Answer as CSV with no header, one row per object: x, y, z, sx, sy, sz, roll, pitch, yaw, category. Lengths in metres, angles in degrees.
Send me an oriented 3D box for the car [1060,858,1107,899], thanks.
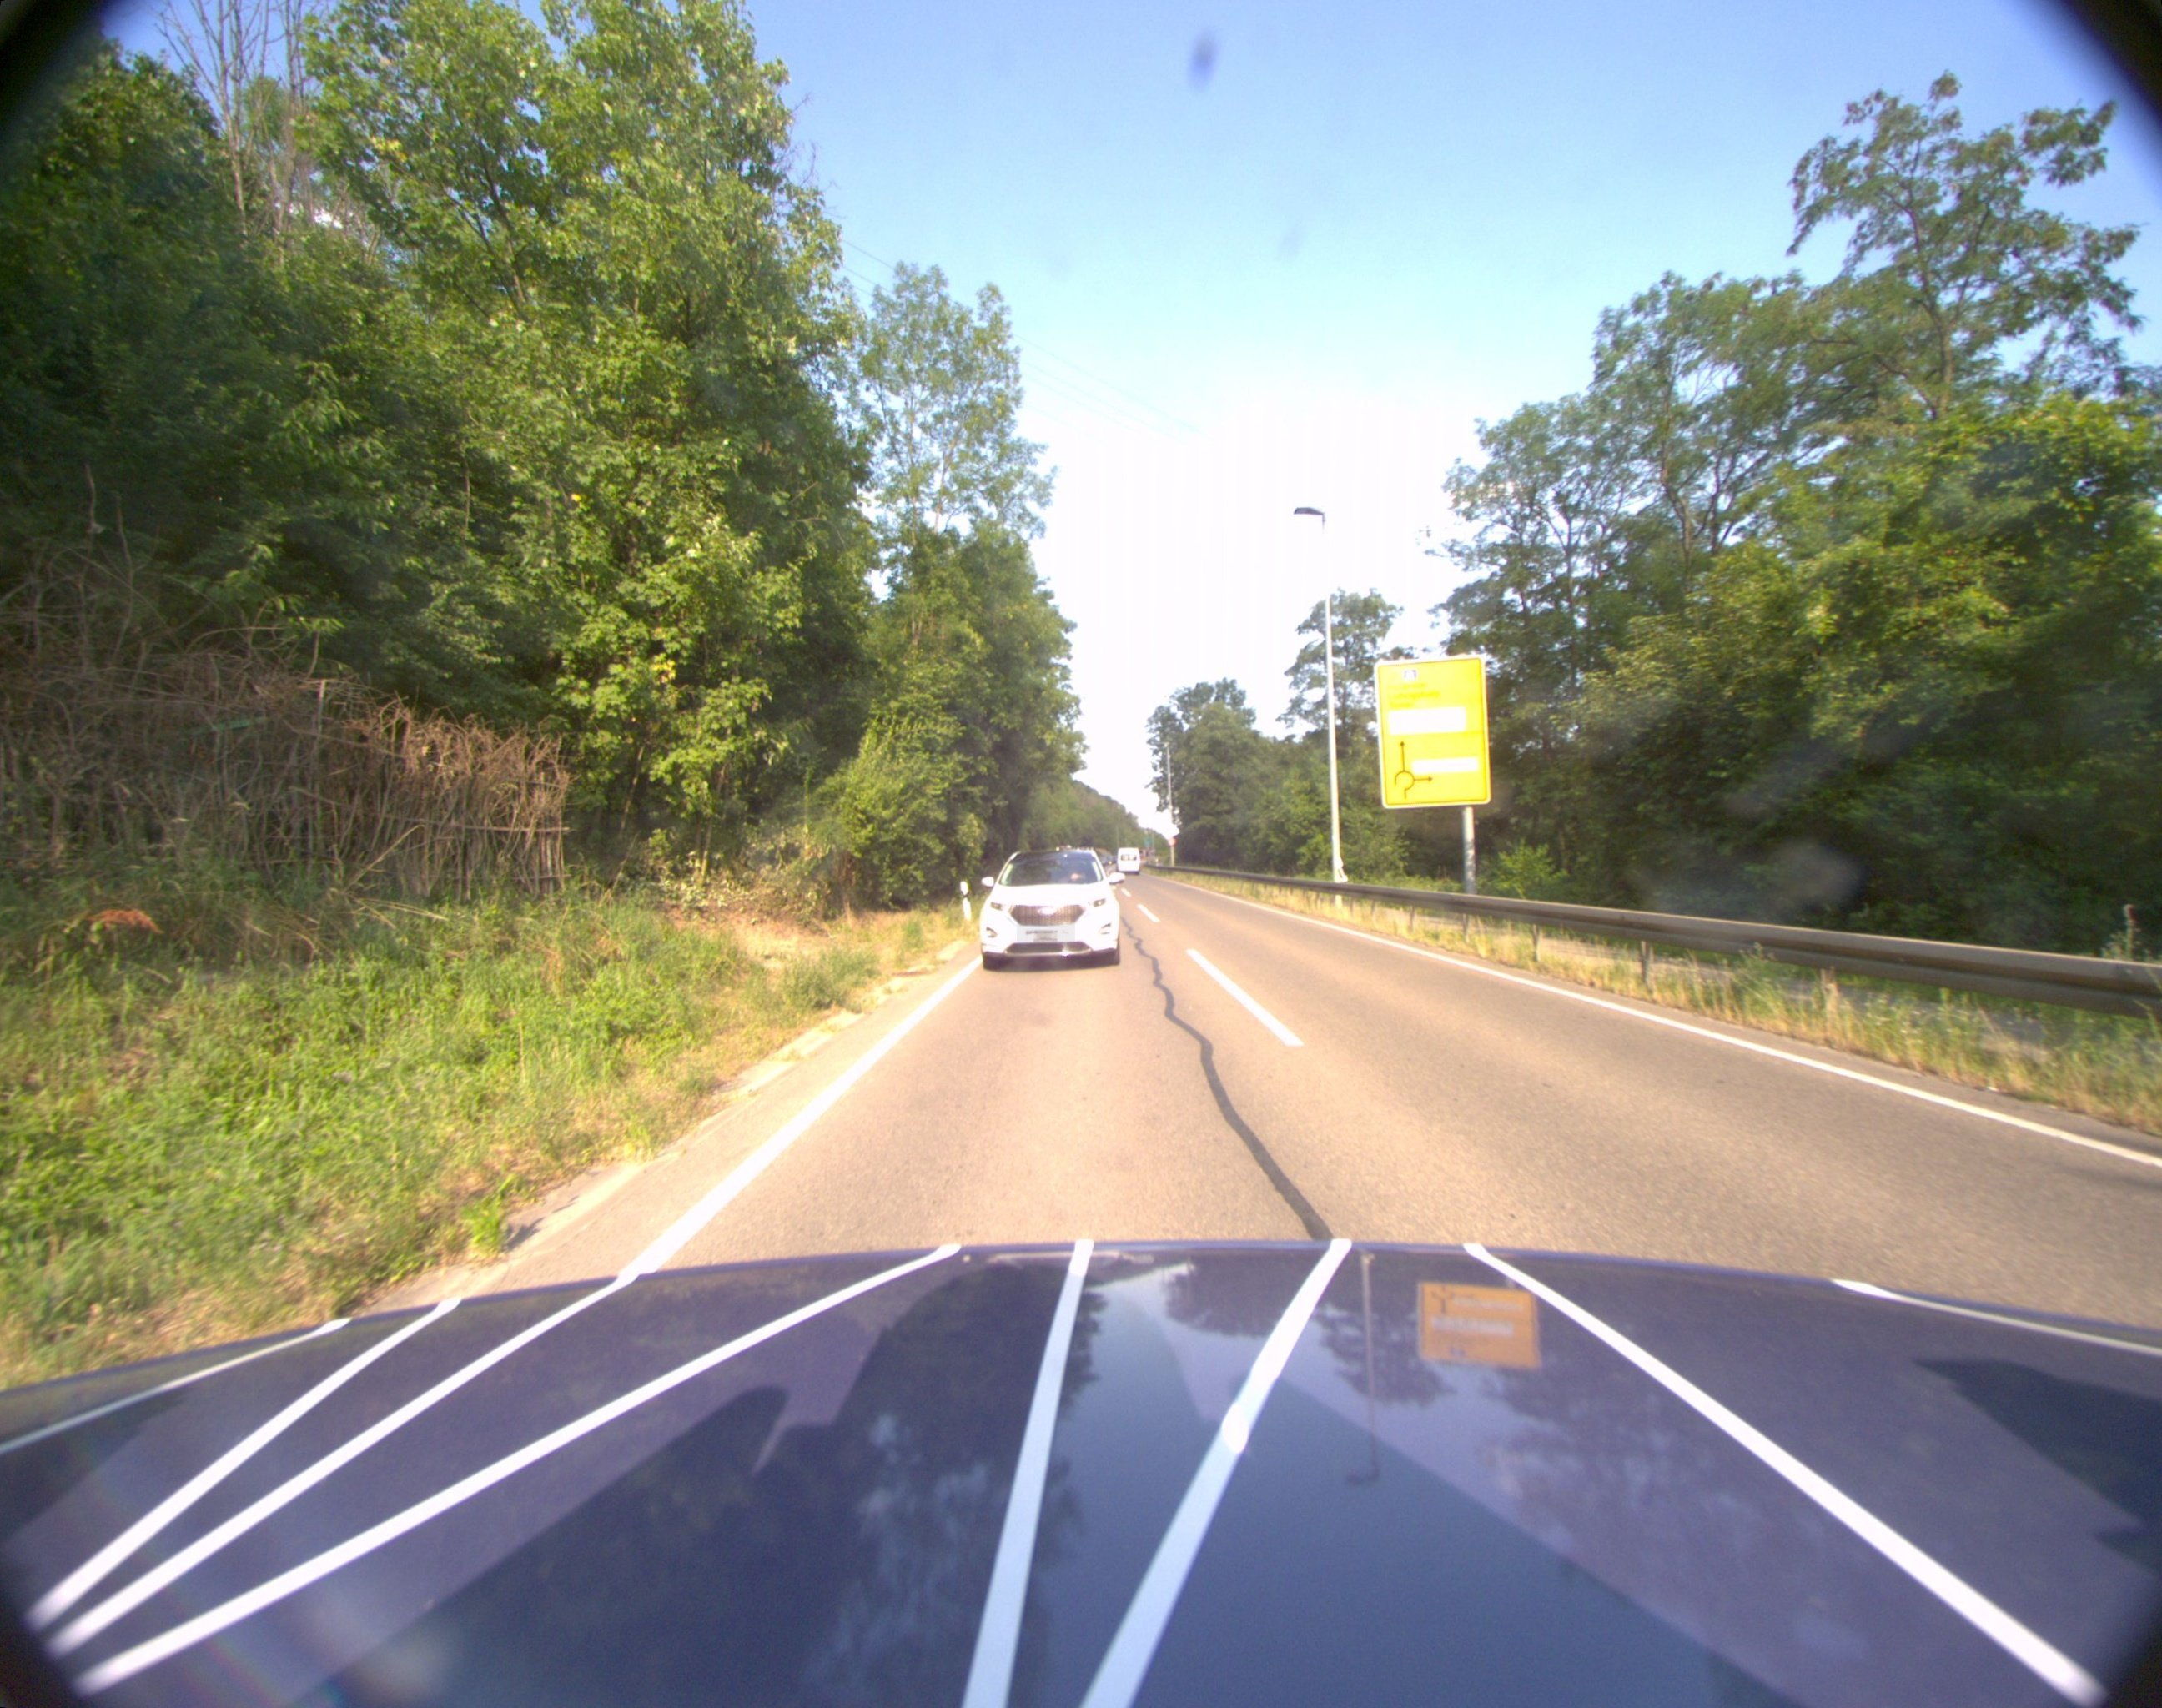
0.124,0.935,30.901,1.704,1.477,4.136,-2,0,1,car

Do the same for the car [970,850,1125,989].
-0.398,0.833,11.728,1.894,1.691,4.136,-2,0,1,car

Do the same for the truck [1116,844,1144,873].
4.250,0.369,66.662,2.062,2.371,5.873,-2,0,1,truck

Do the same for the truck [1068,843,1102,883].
0.280,0.536,47.451,1.894,2.334,5.273,-2,0,1,truck
